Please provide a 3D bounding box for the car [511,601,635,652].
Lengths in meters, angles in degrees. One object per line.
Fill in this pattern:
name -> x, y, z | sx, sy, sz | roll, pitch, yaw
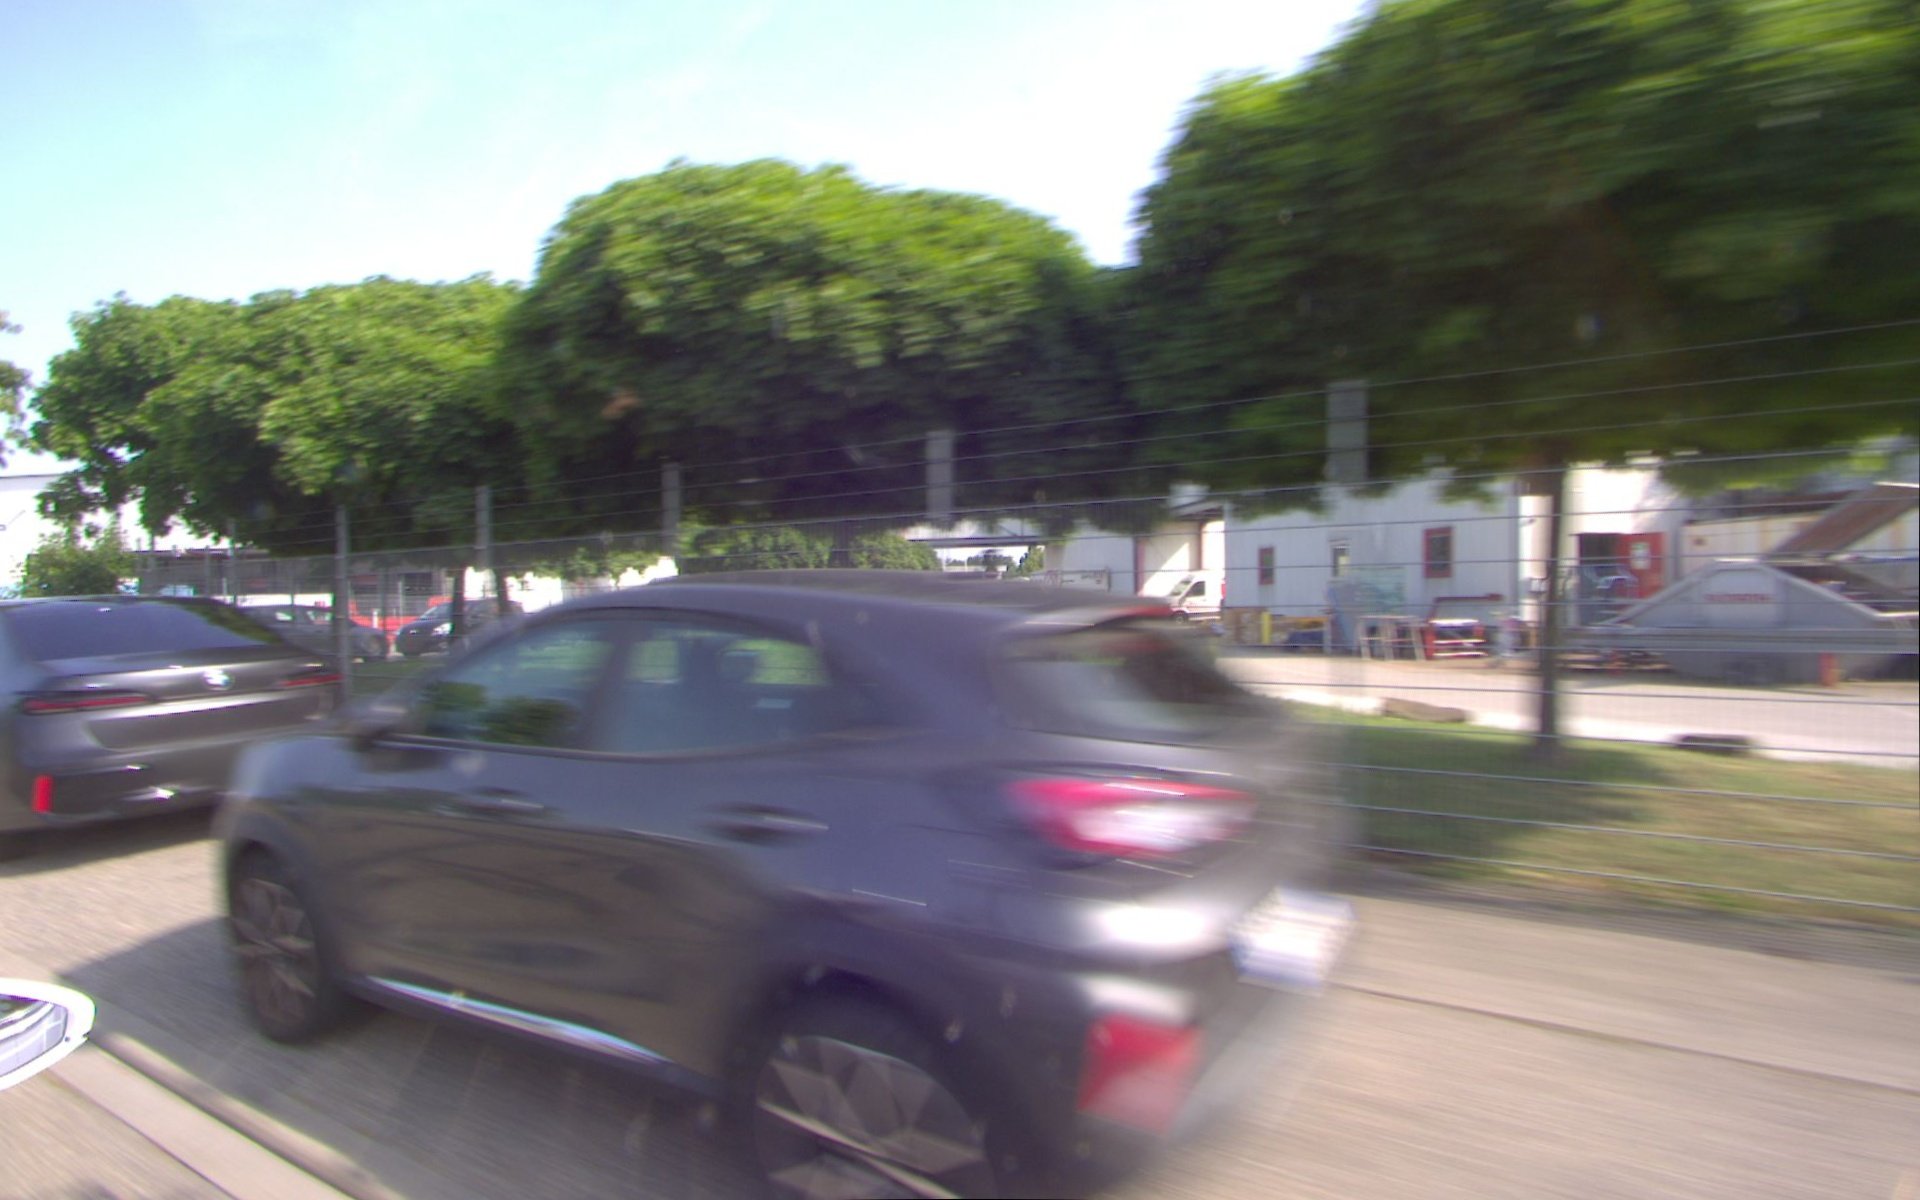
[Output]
car -> -13.093, 0.863, 34.191 | 1.696, 1.537, 4.488 | -3, -1, 13

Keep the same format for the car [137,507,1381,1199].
car -> -0.868, 0.663, 3.487 | 4.055, 1.595, 1.876 | -1, 1, 32

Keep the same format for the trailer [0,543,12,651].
trailer -> -36.952, -0.068, 32.795 | 2.723, 3.946, 8.557 | -1, 1, 10

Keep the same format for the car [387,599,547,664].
car -> -13.969, 0.855, 28.686 | 1.843, 1.646, 4.266 | -3, -1, 11

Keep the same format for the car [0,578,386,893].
car -> -6.503, 0.726, 7.292 | 5.046, 1.595, 1.876 | -1, 2, 33

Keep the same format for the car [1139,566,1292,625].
car -> 11.896, -0.206, 46.761 | 6.573, 2.551, 2.173 | -1, 0, -9

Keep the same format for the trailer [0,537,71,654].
trailer -> -34.251, -0.112, 32.139 | 2.724, 3.944, 8.559 | -3, -1, 11

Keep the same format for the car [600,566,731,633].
car -> -12.060, -0.012, 41.691 | 2.166, 2.516, 6.842 | 1, 0, 13
